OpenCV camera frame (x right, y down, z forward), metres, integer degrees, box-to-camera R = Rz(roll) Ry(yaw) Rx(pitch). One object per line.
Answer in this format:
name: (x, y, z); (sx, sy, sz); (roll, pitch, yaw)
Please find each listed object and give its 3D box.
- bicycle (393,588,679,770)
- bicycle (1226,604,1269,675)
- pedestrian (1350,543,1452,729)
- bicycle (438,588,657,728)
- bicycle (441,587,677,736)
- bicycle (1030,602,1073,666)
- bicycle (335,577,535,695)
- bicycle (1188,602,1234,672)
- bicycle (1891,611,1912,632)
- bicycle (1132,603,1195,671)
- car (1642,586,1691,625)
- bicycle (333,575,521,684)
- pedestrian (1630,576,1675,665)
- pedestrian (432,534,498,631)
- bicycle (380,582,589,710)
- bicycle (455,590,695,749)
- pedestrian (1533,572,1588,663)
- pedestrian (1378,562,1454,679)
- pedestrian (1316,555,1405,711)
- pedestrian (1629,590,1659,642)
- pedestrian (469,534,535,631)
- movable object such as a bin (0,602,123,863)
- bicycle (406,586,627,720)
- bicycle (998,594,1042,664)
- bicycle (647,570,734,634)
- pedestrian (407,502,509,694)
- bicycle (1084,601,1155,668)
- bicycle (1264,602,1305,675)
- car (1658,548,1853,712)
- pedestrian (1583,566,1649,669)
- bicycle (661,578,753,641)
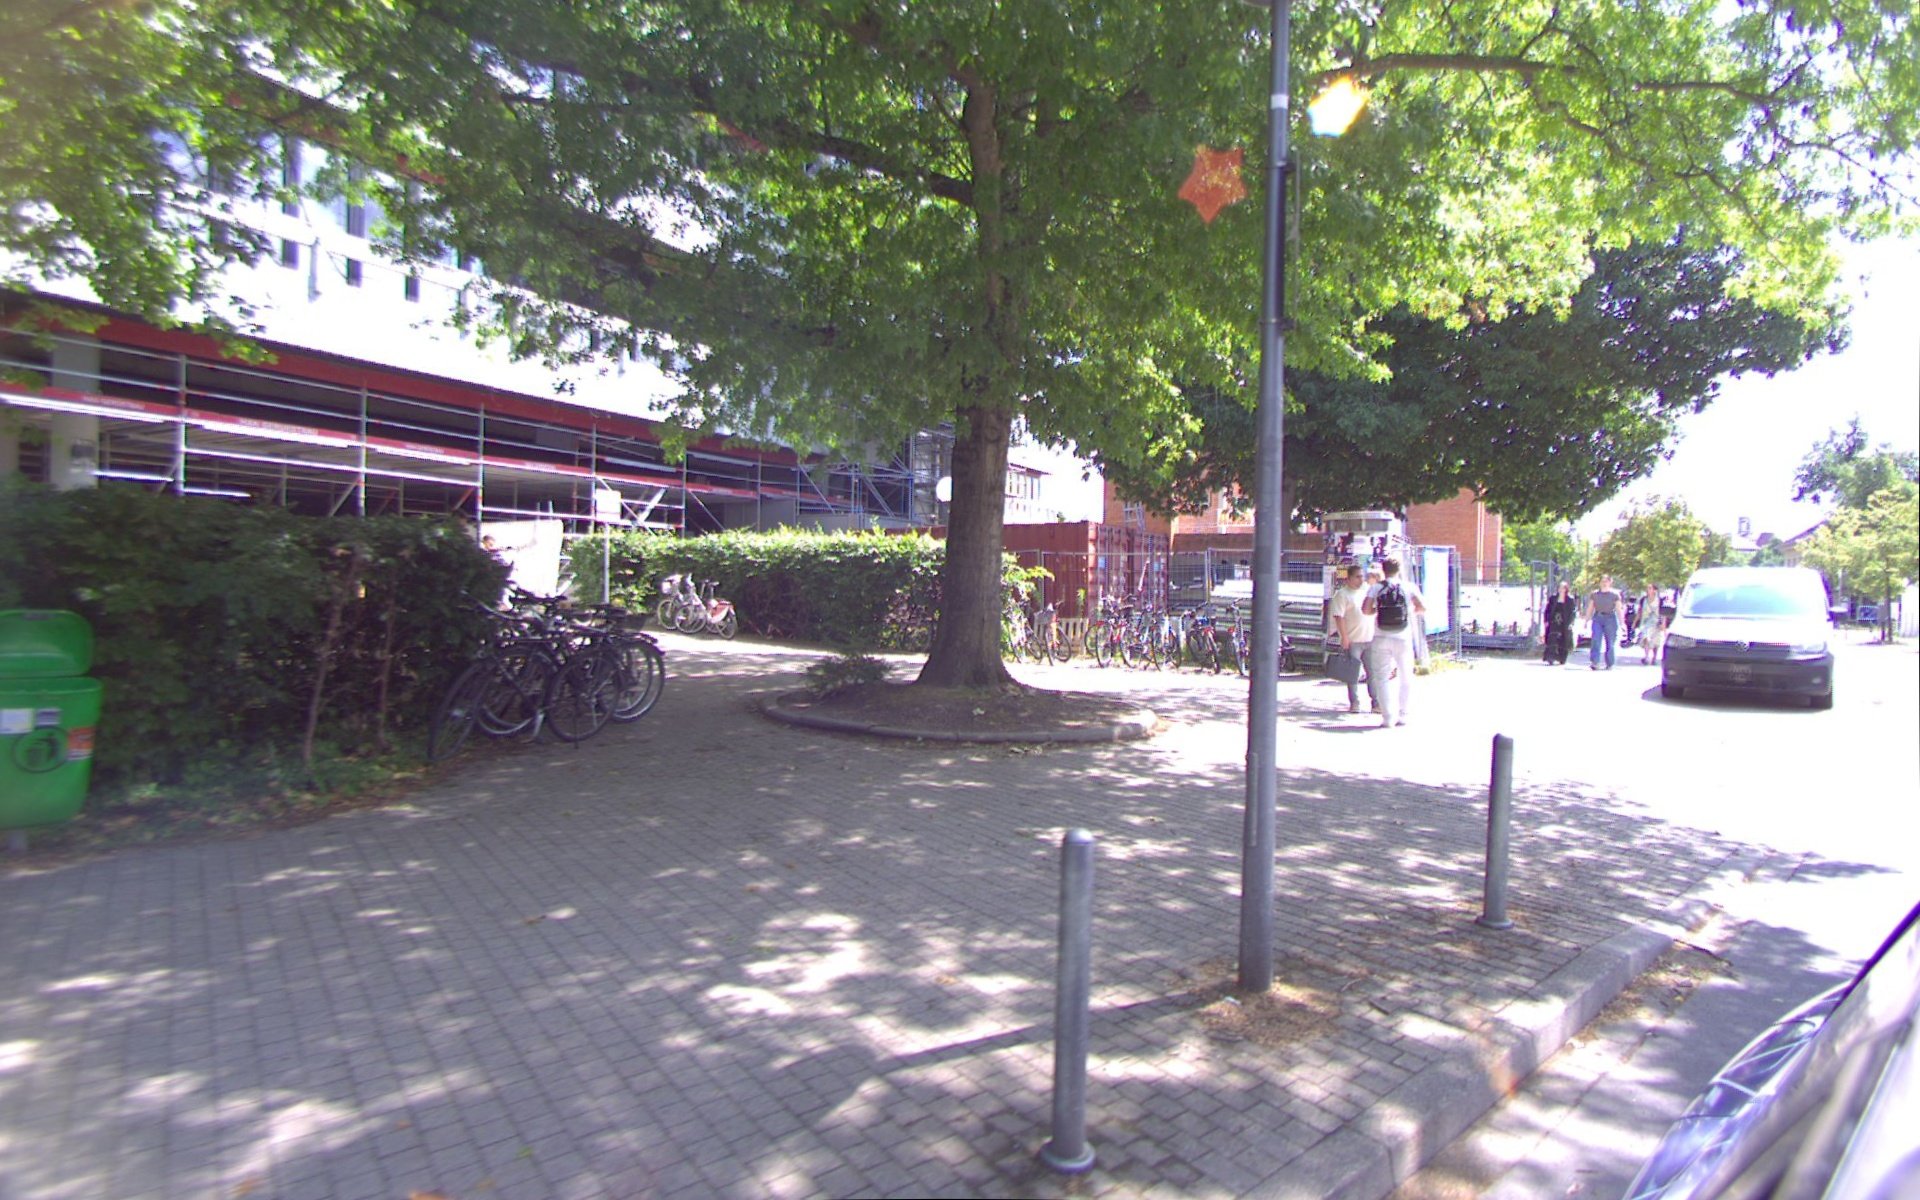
bicycle: (-2.970, 0.488, 7.274); (0.617, 1.133, 1.848); (1, 1, 36)
bicycle: (4.665, 0.606, 16.356); (0.508, 1.029, 1.797); (2, 2, 20)
pedestrian: (4.502, 0.356, 10.373); (0.709, 1.844, 0.630); (1, 0, -5)
bicycle: (-3.666, 0.471, 9.149); (0.497, 1.133, 1.848); (1, 1, 36)
bicycle: (-3.359, 0.467, 8.660); (0.497, 1.133, 1.911); (1, 1, 36)
bicycle: (1.590, 0.551, 17.351); (0.506, 0.968, 1.803); (2, 2, 11)
bicycle: (-5.491, 0.342, 10.695); (0.497, 1.133, 1.848); (1, 1, 36)
bicycle: (4.149, 0.580, 16.639); (0.508, 1.029, 1.797); (2, 2, 20)
bicycle: (49.586, 1.108, 53.308); (0.541, 1.075, 1.875); (1, 0, 35)
bicycle: (3.407, 0.587, 16.842); (0.510, 1.029, 1.790); (3, 2, 28)
car: (48.637, 0.359, 69.747); (2.047, 2.575, 5.791); (1, 0, 28)
bicycle: (-5.937, 0.297, 11.383); (0.497, 1.133, 1.848); (1, 1, 36)
pedestrian: (13.625, 0.390, 19.921); (0.646, 1.687, 0.894); (2, 1, 32)
pedestrian: (-8.378, -0.301, 17.149); (0.755, 1.592, 0.719); (1, 0, 35)
bicycle: (-4.611, 0.406, 9.951); (0.497, 1.133, 1.848); (1, 1, 36)
bicycle: (-3.047, 0.497, 8.198); (0.497, 1.133, 1.848); (1, 1, 36)
pedestrian: (11.184, 0.312, 18.837); (0.668, 1.620, 0.970); (2, 1, 42)
pedestrian: (6.674, 0.286, 14.834); (0.697, 1.652, 0.716); (1, 0, -27)
pedestrian: (4.556, 0.367, 11.544); (0.730, 1.731, 0.564); (1, 0, -5)
pedestrian: (24.114, 0.558, 35.703); (0.689, 1.803, 0.781); (2, 0, 23)
pedestrian: (-8.084, -0.308, 17.864); (0.825, 1.656, 0.715); (1, 0, 33)
movable object such as a bin: (-4.117, 0.557, 4.513); (0.488, 1.086, 0.498); (1, 0, 38)
bicycle: (-4.105, 0.444, 9.520); (0.497, 1.133, 1.915); (1, 1, 36)
bicycle: (1.059, 0.471, 17.542); (0.492, 1.091, 1.803); (2, 2, 11)
bicycle: (-5.238, 0.027, 19.599); (1.859, 1.132, 0.494); (3, 2, 33)
pedestrian: (-5.076, -0.029, 10.255); (0.542, 1.860, 0.751); (1, 0, 37)
bicycle: (2.717, 0.555, 17.116); (0.510, 1.029, 1.788); (3, 2, 32)
bicycle: (5.155, 0.576, 16.035); (0.508, 1.029, 1.797); (2, 2, 20)
car: (11.300, 0.331, 14.320); (1.846, 1.915, 4.818); (2, 1, 40)
pedestrian: (11.726, 0.298, 18.083); (0.849, 1.786, 0.705); (2, 1, 42)
bicycle: (-4.648, 0.154, 18.538); (1.859, 1.039, 0.494); (3, 2, 34)
